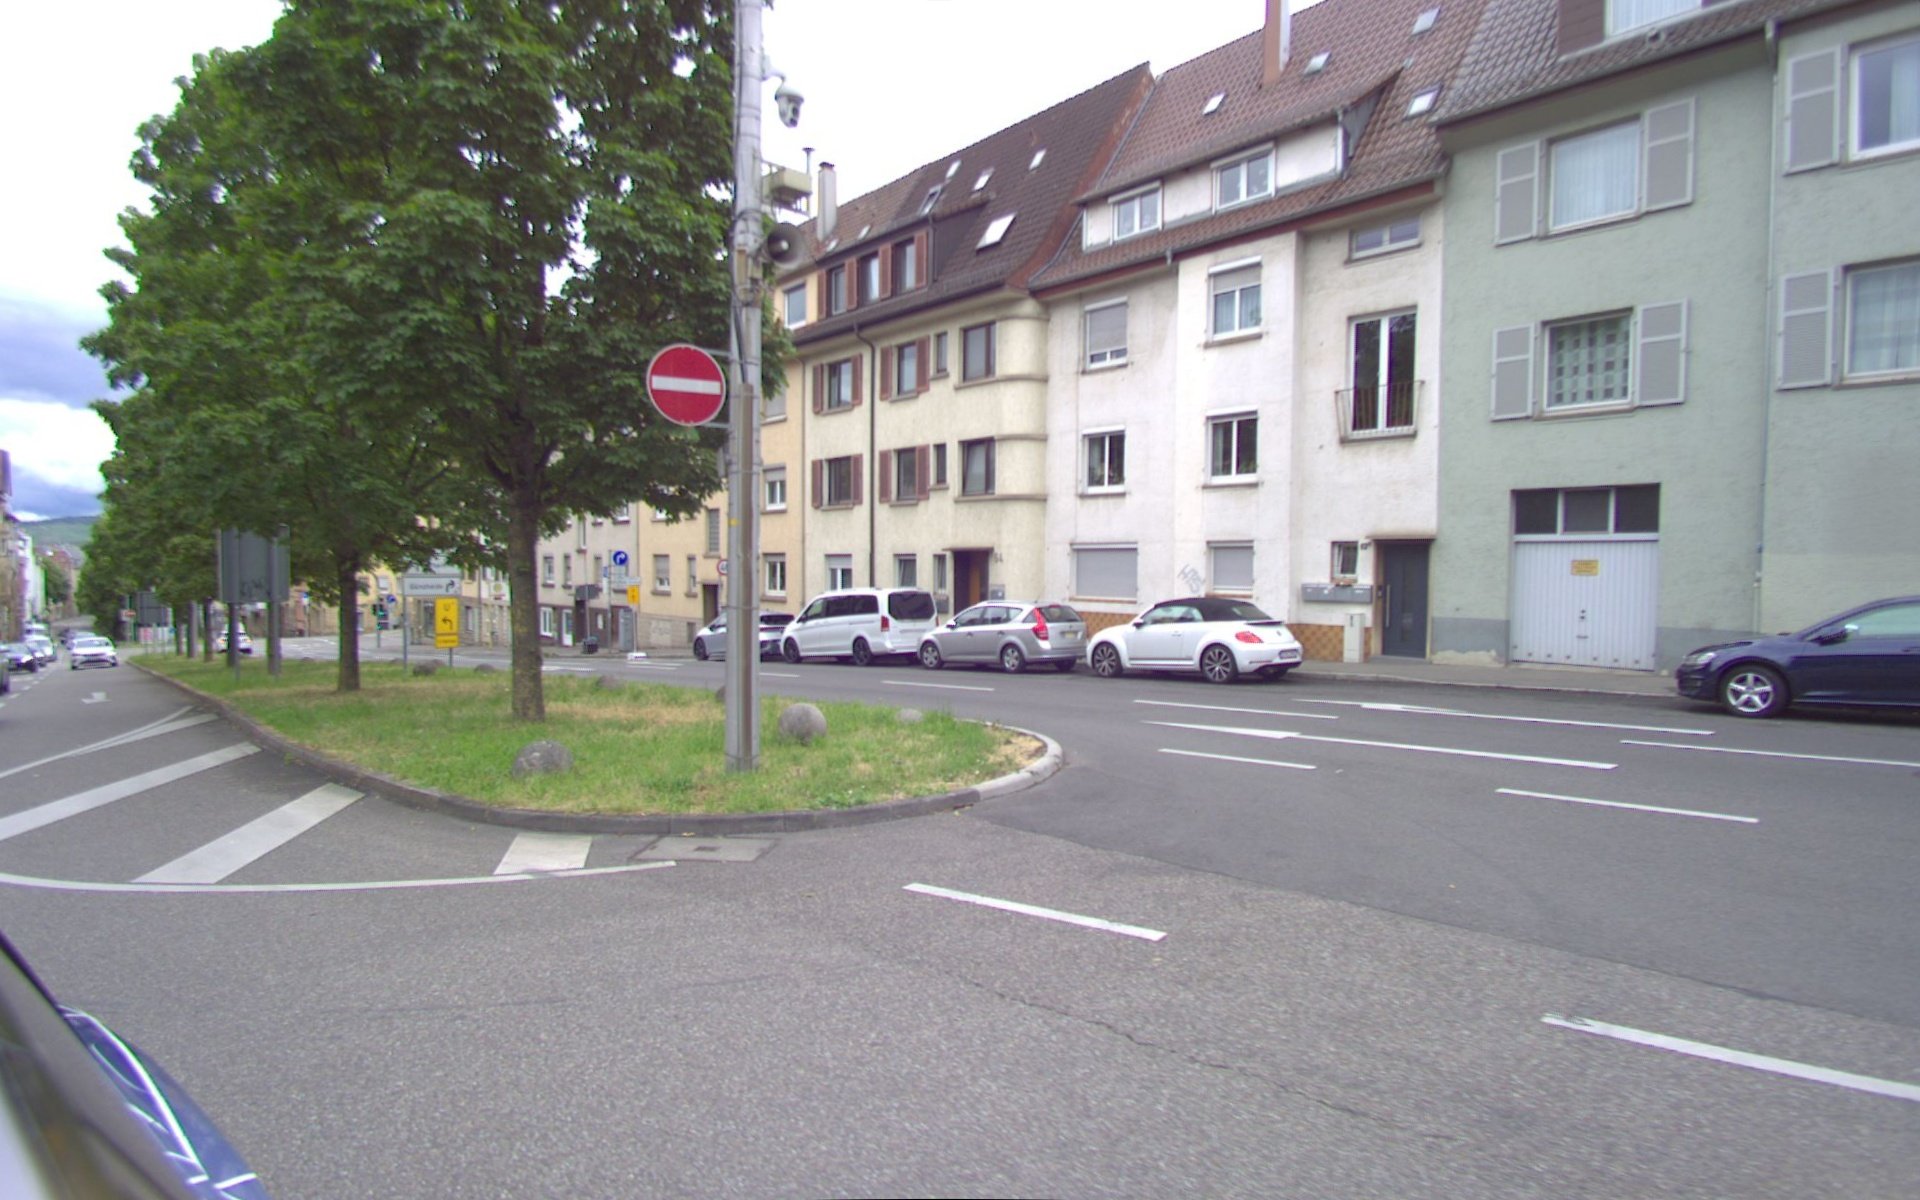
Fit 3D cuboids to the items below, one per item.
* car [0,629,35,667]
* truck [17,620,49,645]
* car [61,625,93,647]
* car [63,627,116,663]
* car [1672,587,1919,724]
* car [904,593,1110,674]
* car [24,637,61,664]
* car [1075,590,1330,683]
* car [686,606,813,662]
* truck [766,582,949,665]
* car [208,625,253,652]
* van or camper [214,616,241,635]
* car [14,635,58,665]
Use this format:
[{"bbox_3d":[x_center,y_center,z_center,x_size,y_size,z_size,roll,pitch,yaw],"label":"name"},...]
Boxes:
[{"bbox_3d":[-44.035,2.199,46.805,1.758,1.604,3.537,2,-1,-43],"label":"car"},{"bbox_3d":[-113.022,3.983,123.422,2.514,2.930,7.790,0,-1,-40],"label":"truck"},{"bbox_3d":[-68.718,2.811,78.734,1.758,1.604,3.537,2,-1,-43],"label":"car"},{"bbox_3d":[-41.486,2.121,48.206,1.758,1.604,3.537,2,-1,-43],"label":"car"},{"bbox_3d":[10.721,0.570,11.351,1.971,1.434,4.214,-1,1,-45],"label":"car"},{"bbox_3d":[0.929,0.703,22.143,1.969,1.564,4.387,-1,-1,-42],"label":"car"},{"bbox_3d":[-61.699,3.368,68.015,1.758,1.604,3.537,2,-1,-43],"label":"car"},{"bbox_3d":[4.339,0.637,18.566,1.969,1.485,4.164,-1,-1,-41],"label":"car"},{"bbox_3d":[-6.465,1.013,30.807,1.969,1.564,4.163,-1,-1,-42],"label":"car"},{"bbox_3d":[-2.807,0.610,26.469,1.969,1.934,5.353,-1,-1,-42],"label":"truck"},{"bbox_3d":[-44.366,2.333,61.501,1.724,1.478,4.591,-1,-1,-42],"label":"car"},{"bbox_3d":[-74.717,2.611,103.193,1.884,1.774,4.661,-2,0,-41],"label":"van or camper"},{"bbox_3d":[-52.648,2.823,57.672,1.758,1.604,3.537,2,-1,-43],"label":"car"}]
